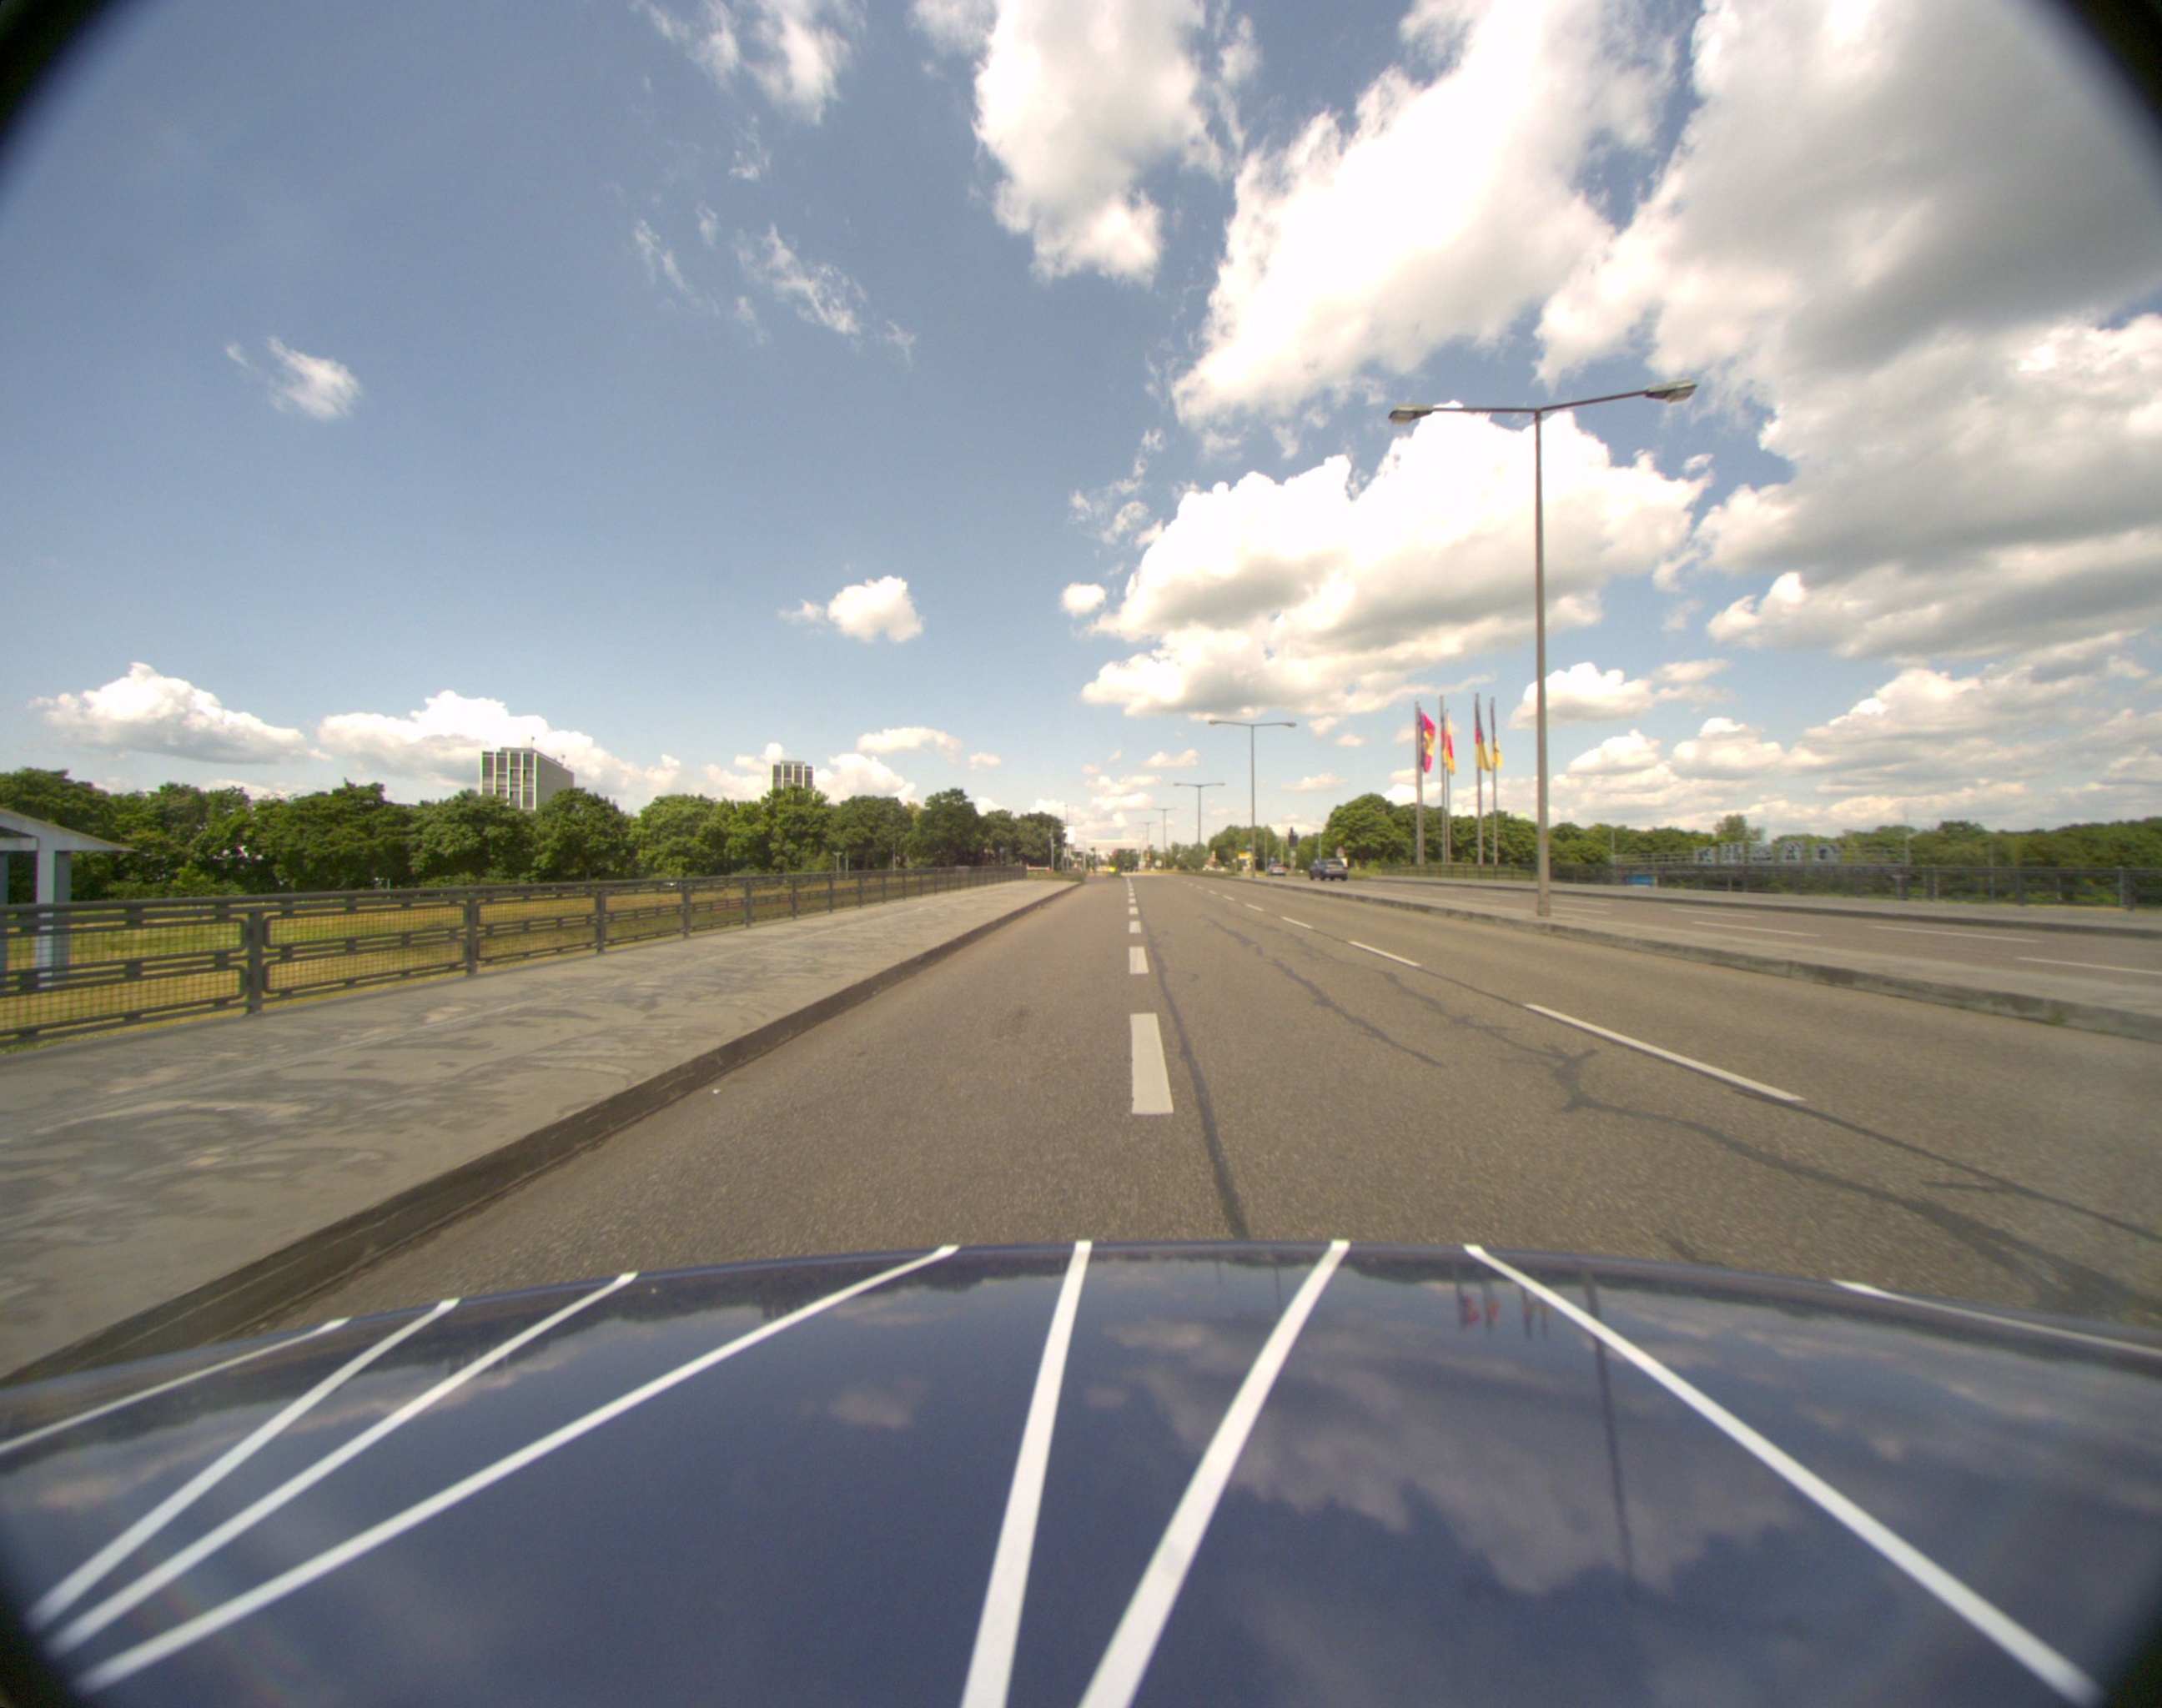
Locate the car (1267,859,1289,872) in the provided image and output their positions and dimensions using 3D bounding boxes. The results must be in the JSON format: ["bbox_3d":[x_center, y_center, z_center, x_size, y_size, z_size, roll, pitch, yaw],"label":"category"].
[{"bbox_3d":[23.167,1.394,89.523,1.667,1.405,4.552,2,-1,5],"label":"car"}]

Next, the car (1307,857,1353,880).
[{"bbox_3d":[19.287,1.100,59.064,2.093,1.616,4.551,3,-1,1],"label":"car"}]
